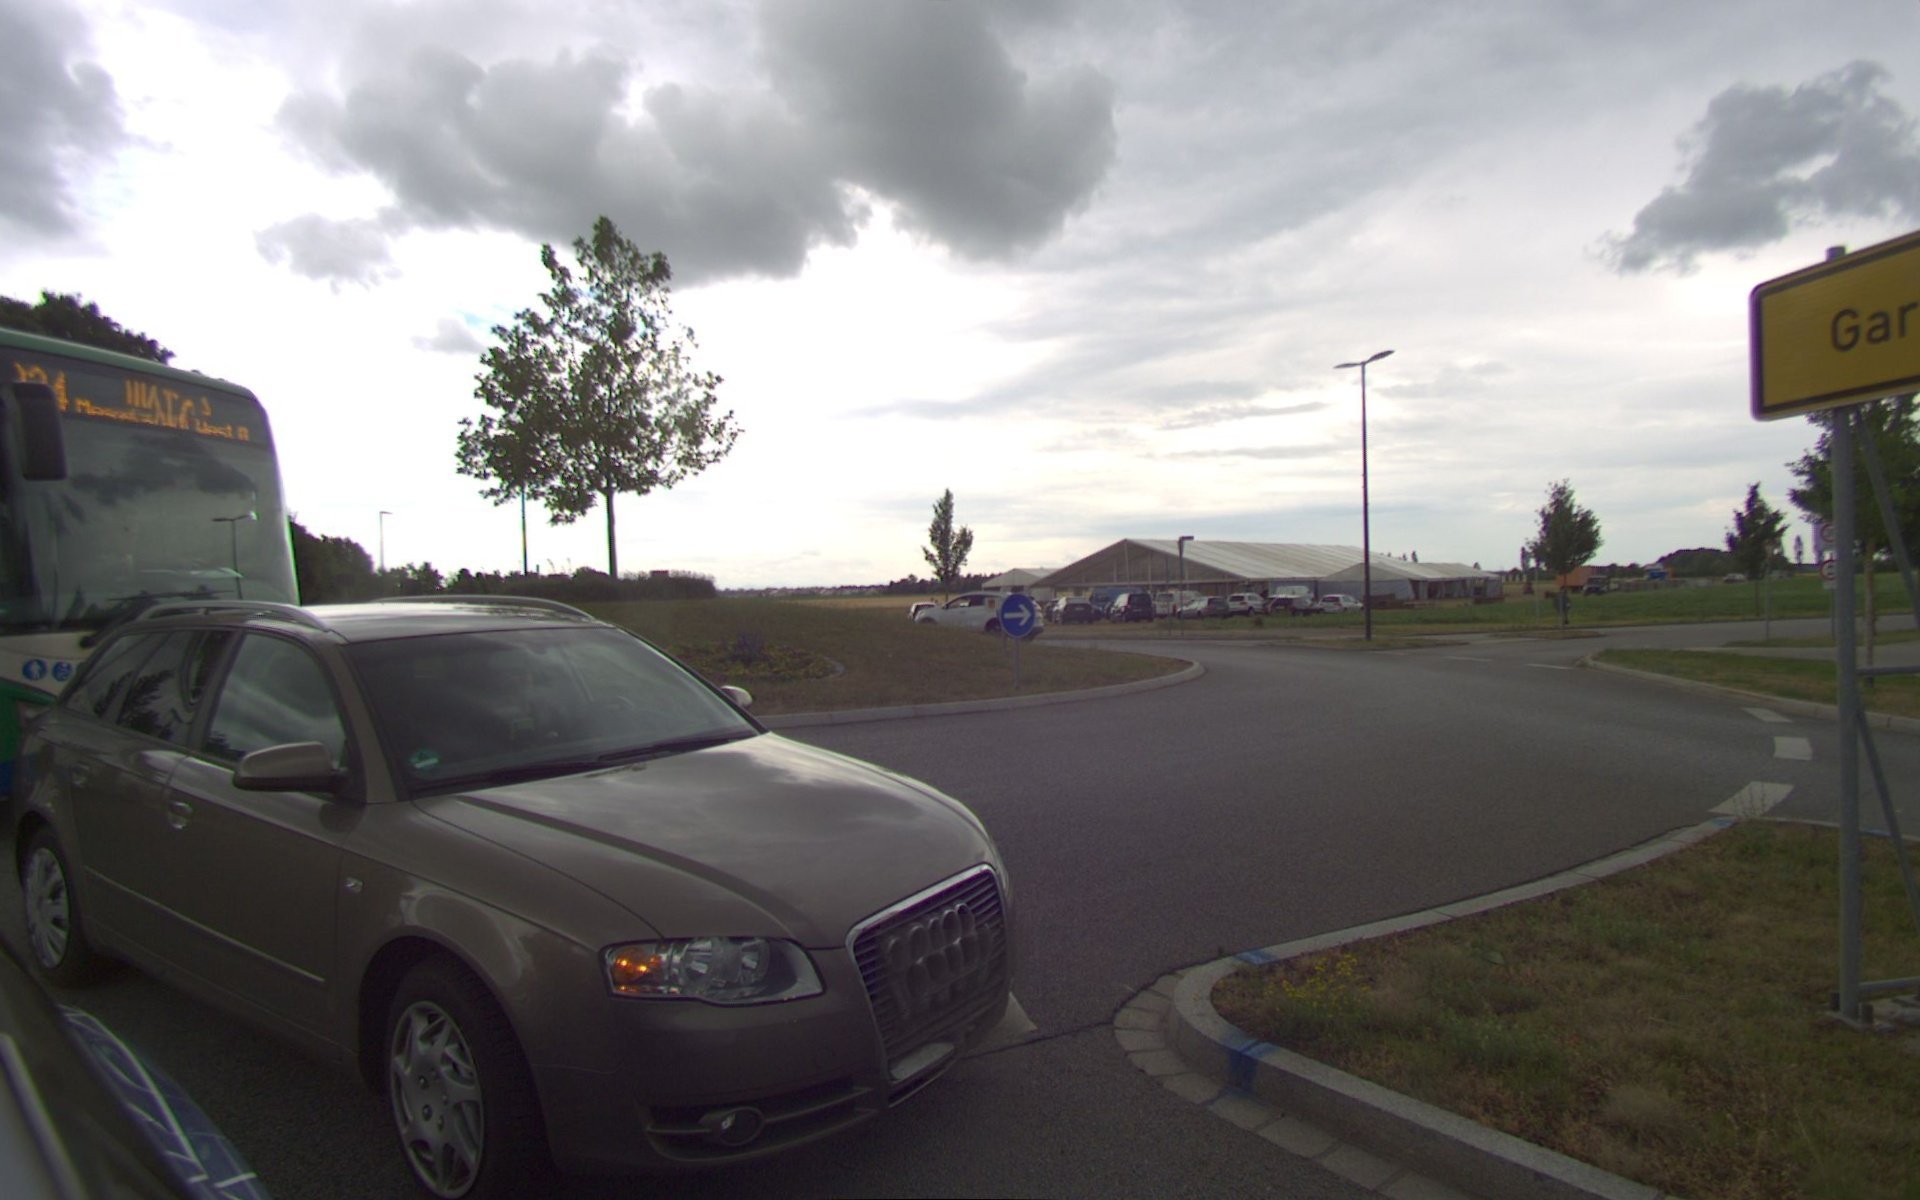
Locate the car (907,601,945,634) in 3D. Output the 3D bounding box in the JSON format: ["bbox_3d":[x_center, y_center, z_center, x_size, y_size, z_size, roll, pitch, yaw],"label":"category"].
[{"bbox_3d":[-1.890,0.943,57.288,1.694,1.564,3.996,-4,2,4],"label":"car"}]

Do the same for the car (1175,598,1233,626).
[{"bbox_3d":[14.746,0.709,61.302,1.705,1.618,3.887,-2,0,-15],"label":"car"}]

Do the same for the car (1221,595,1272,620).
[{"bbox_3d":[19.511,0.499,68.886,1.835,1.618,3.776,-1,0,42],"label":"car"}]

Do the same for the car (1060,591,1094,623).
[{"bbox_3d":[6.707,0.350,58.282,1.694,1.564,3.996,-4,2,4],"label":"car"}]

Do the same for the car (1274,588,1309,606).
[{"bbox_3d":[32.313,-0.322,98.565,1.835,1.618,3.776,-1,0,42],"label":"car"}]

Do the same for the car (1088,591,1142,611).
[{"bbox_3d":[11.921,0.083,77.728,3.938,1.453,1.955,-2,0,-41],"label":"car"}]

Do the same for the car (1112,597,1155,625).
[{"bbox_3d":[9.925,0.604,58.115,1.926,1.453,3.996,-1,0,3],"label":"car"}]

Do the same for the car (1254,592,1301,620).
[{"bbox_3d":[19.063,0.345,60.904,1.613,1.618,3.875,-2,0,1],"label":"car"}]

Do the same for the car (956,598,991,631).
[{"bbox_3d":[0.777,0.769,57.291,1.694,1.564,3.996,-4,2,4],"label":"car"}]

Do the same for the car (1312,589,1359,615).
[{"bbox_3d":[24.205,0.125,65.148,1.729,1.565,3.950,-1,0,37],"label":"car"}]

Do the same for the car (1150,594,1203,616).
[{"bbox_3d":[15.193,0.348,70.965,1.951,1.453,3.945,-1,0,41],"label":"car"}]

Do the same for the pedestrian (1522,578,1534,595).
[{"bbox_3d":[72.635,-1.716,129.513,1.045,2.029,1.052,-2,1,-44],"label":"pedestrian"}]

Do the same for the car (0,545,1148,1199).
[{"bbox_3d":[-1.790,0.671,3.681,4.526,1.476,1.764,-1,0,33],"label":"car"}]

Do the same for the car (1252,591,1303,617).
[{"bbox_3d":[21.061,0.233,67.123,1.835,1.618,3.776,-1,0,42],"label":"car"}]

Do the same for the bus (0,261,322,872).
[{"bbox_3d":[-8.305,-0.169,6.915,6.464,3.283,2.522,0,0,4],"label":"bus"}]

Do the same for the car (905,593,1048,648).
[{"bbox_3d":[0.470,0.640,32.389,4.445,1.638,1.692,-1,1,39],"label":"car"}]
